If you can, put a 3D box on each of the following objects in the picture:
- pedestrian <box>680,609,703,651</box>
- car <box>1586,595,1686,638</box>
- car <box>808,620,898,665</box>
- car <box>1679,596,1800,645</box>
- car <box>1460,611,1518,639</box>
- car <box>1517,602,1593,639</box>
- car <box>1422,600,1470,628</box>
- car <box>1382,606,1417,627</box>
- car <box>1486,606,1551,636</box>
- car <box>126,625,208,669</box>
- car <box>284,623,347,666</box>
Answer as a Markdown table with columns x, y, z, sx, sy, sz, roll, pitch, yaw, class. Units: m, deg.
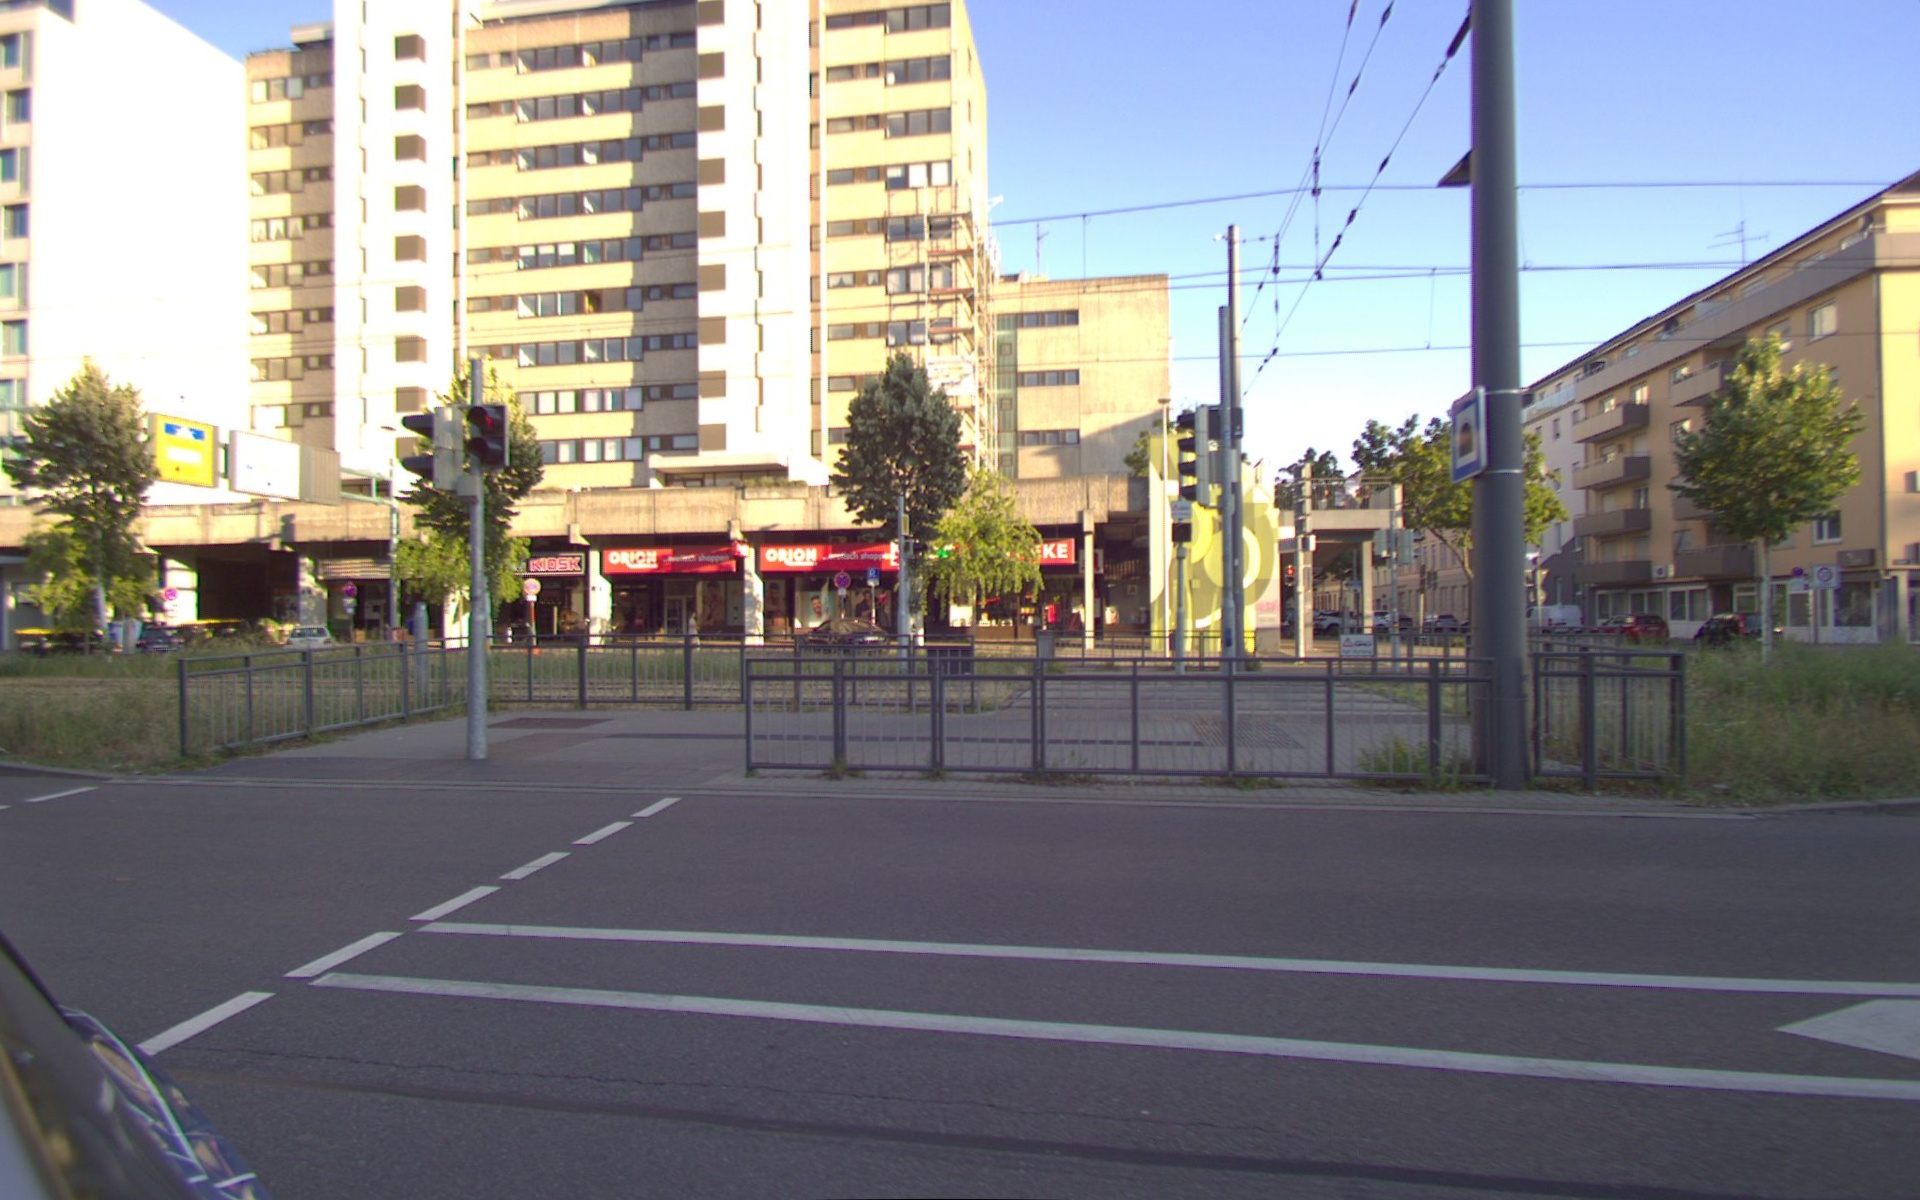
| x | y | z | sx | sy | sz | roll | pitch | yaw | class |
| --- | --- | --- | --- | --- | --- | --- | --- | --- | --- |
| -11.121 | 1.234 | 41.977 | 0.654 | 1.674 | 0.663 | -1 | 1 | 12 | pedestrian |
| 32.592 | 0.852 | 48.959 | 2.140 | 1.783 | 4.333 | -2 | -4 | 6 | car |
| -3.760 | 1.443 | 35.119 | 1.714 | 1.461 | 3.741 | 0 | -1 | -30 | car |
| 31.253 | 0.831 | 40.738 | 2.166 | 1.859 | 3.936 | -1 | -1 | 9 | car |
| 35.360 | 1.656 | 67.825 | 2.092 | 1.769 | 4.331 | -1 | -1 | 9 | car |
| 33.718 | 1.151 | 57.542 | 2.142 | 2.005 | 4.489 | -1 | -1 | 9 | car |
| 36.962 | 1.091 | 77.095 | 1.967 | 1.800 | 3.896 | -3 | -4 | 7 | car |
| 38.119 | 1.455 | 87.876 | 1.705 | 1.530 | 3.993 | -2 | -4 | 8 | car |
| 34.595 | 1.275 | 62.775 | 2.092 | 1.769 | 4.331 | -1 | -1 | 9 | car |
| -31.500 | 1.813 | 40.327 | 1.975 | 1.602 | 4.298 | 0 | -1 | -30 | car |
| -25.163 | 1.683 | 39.621 | 1.794 | 1.446 | 4.144 | -1 | 1 | -29 | car |
